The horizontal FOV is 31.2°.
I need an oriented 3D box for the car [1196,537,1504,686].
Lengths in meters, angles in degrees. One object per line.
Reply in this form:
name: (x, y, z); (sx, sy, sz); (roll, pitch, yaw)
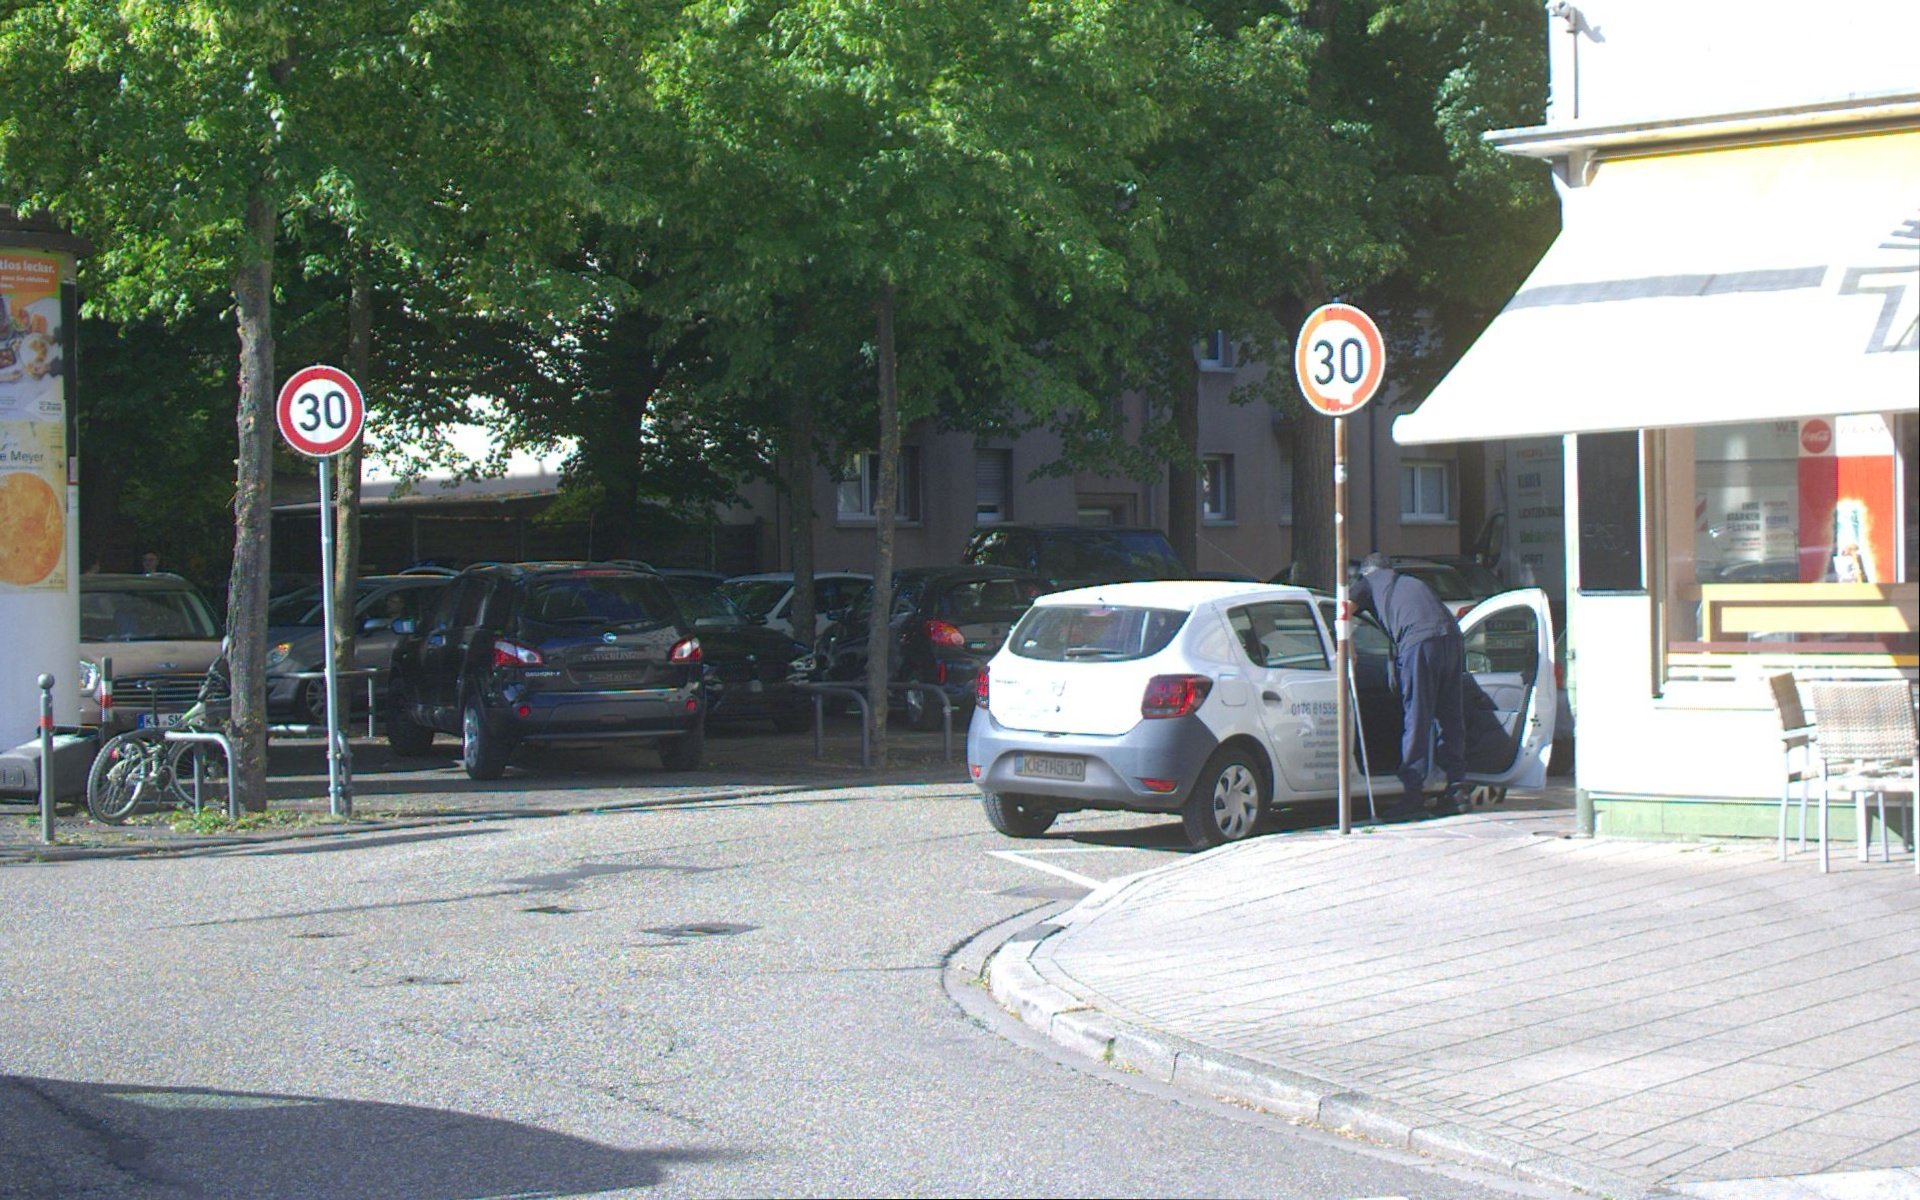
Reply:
car: (4.145, 0.087, 37.292); (1.807, 1.502, 4.345); (-1, 1, -16)

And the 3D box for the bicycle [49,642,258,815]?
bicycle: (-5.364, 0.837, 22.946); (0.353, 1.068, 1.590); (0, 1, 30)

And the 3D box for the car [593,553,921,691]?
car: (-2.295, 0.221, 39.810); (1.757, 1.481, 3.942); (0, 1, 34)

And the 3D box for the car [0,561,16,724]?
car: (-10.910, 0.428, 30.959); (1.907, 1.513, 4.290); (0, 1, 41)

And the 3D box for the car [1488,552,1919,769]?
car: (5.590, 0.395, 25.459); (1.600, 1.458, 3.664); (0, 1, 41)

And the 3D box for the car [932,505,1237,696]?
car: (1.236, -0.032, 36.405); (1.929, 1.867, 4.504); (-1, 1, -16)

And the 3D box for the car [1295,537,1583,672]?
car: (5.629, 0.021, 40.956); (1.807, 1.502, 4.345); (-1, 1, -16)

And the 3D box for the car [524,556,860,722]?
car: (-2.552, 0.310, 31.908); (1.815, 1.417, 3.950); (-1, 1, -25)

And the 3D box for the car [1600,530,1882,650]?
car: (10.250, -0.167, 45.429); (1.842, 1.497, 4.001); (0, 1, -18)

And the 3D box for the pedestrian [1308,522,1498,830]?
pedestrian: (2.543, 0.417, 19.730); (0.743, 1.716, 0.761); (-1, 1, -43)

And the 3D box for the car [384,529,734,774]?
car: (-3.275, 0.328, 27.318); (1.831, 1.665, 4.338); (-1, 3, -20)

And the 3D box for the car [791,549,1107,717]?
car: (-0.175, 0.270, 32.649); (1.755, 1.476, 3.825); (-1, 1, -21)

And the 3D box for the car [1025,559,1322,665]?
car: (2.896, 0.138, 45.783); (1.767, 1.290, 4.404); (-2, -1, 37)

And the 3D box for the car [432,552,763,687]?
car: (-4.464, 0.210, 42.732); (1.758, 1.564, 3.940); (0, 1, 41)

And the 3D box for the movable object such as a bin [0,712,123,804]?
movable object such as a bin: (-6.358, 1.085, 23.792); (0.576, 0.563, 1.112); (0, 1, 20)

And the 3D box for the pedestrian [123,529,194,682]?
pedestrian: (-9.197, 0.058, 39.436); (0.740, 1.729, 0.540); (-1, 1, -16)

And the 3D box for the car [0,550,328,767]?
car: (-6.722, 0.432, 28.060); (1.916, 1.605, 4.000); (-1, 1, -28)

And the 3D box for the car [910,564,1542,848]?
car: (1.696, 0.560, 20.773); (1.723, 1.492, 4.013); (0, 1, 41)

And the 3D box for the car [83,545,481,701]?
car: (-7.547, 0.214, 38.591); (1.758, 1.634, 4.237); (0, 1, 39)

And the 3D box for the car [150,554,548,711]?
car: (-6.193, 0.287, 35.210); (1.757, 1.481, 3.942); (0, 1, 34)

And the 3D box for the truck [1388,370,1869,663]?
truck: (8.033, -0.980, 42.422); (2.538, 3.282, 7.327); (-1, 1, -18)
